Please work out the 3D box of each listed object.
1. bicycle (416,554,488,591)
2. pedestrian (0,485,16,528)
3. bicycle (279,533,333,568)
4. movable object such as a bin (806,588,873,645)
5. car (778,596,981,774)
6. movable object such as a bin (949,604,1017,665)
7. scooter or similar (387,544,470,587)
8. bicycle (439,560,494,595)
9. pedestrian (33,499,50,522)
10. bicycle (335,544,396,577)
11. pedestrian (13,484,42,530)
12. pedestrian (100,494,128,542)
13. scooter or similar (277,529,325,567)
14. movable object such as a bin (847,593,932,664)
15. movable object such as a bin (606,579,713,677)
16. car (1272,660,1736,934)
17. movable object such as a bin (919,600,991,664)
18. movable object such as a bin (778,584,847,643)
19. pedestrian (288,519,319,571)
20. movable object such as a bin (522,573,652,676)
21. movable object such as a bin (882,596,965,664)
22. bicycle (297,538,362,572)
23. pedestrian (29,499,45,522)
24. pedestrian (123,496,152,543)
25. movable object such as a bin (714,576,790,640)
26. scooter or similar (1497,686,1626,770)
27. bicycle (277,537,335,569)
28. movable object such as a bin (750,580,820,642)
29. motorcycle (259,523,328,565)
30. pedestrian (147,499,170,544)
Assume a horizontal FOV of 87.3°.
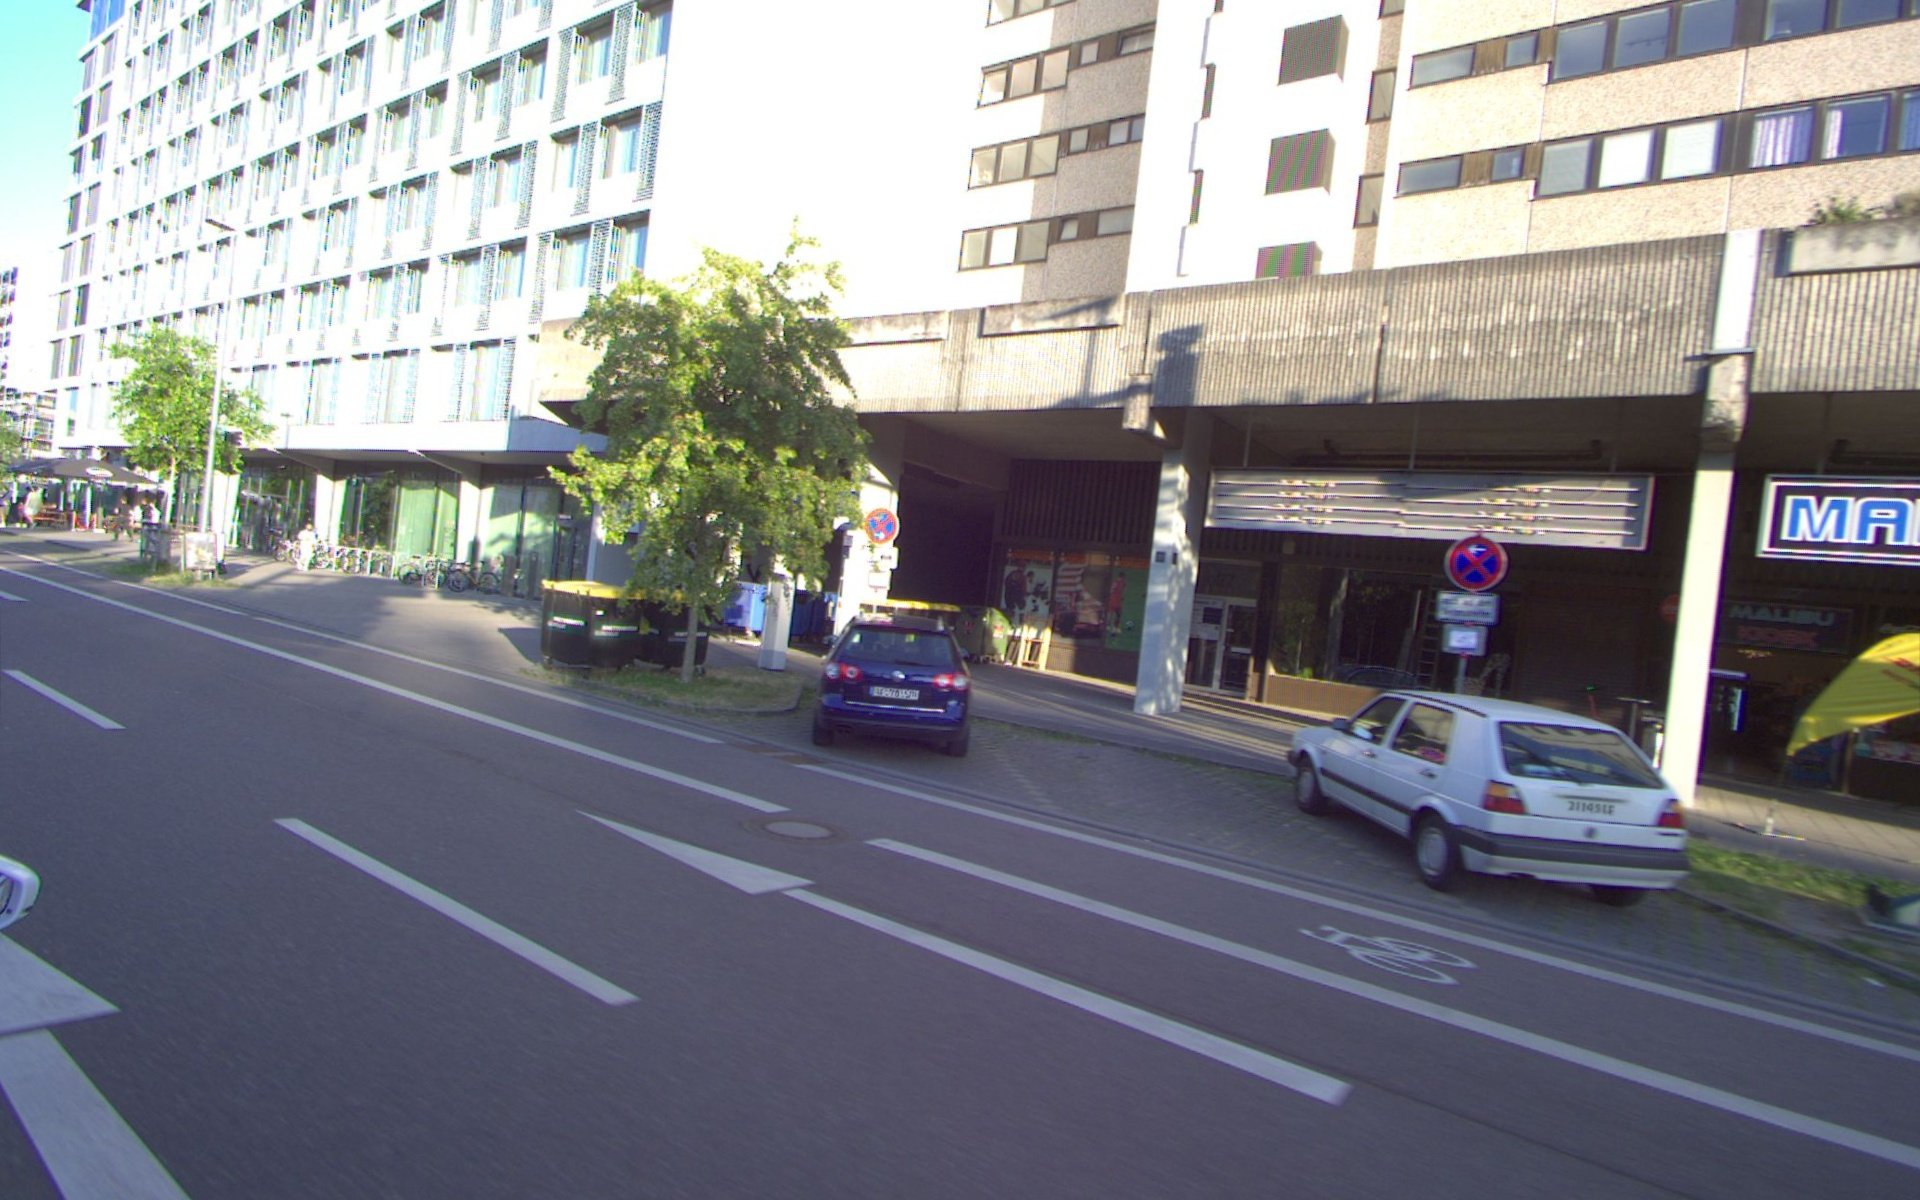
[{"bbox_3d":[-16.326,-0.871,32.388,0.610,0.970,2.018,7,1,29],"label":"bicycle"},{"bbox_3d":[-41.923,-4.110,44.153,0.818,1.809,0.574,6,2,44],"label":"pedestrian"},{"bbox_3d":[-24.823,-1.882,38.210,0.601,1.170,1.610,7,2,23],"label":"bicycle"},{"bbox_3d":[-3.204,0.445,26.747,1.263,1.346,1.074,7,1,35],"label":"movable object such as a bin"},{"bbox_3d":[-0.946,0.850,12.445,1.904,1.528,4.663,5,1,-4],"label":"car"},{"bbox_3d":[0.575,0.862,24.793,1.070,1.330,1.182,7,1,34],"label":"movable object such as a bin"},{"bbox_3d":[-17.590,-1.125,33.357,0.611,1.198,2.372,7,1,35],"label":"scooter or similar"},{"bbox_3d":[-15.279,-0.695,31.192,0.450,0.902,1.422,7,0,35],"label":"bicycle"},{"bbox_3d":[-57.406,-5.573,62.882,0.742,1.337,0.706,3,4,-42],"label":"pedestrian"},{"bbox_3d":[-20.567,-1.357,34.814,0.542,0.999,1.700,7,2,32],"label":"bicycle"},{"bbox_3d":[-41.164,-4.093,44.417,0.855,1.913,0.822,6,2,44],"label":"pedestrian"},{"bbox_3d":[-34.601,-3.340,41.155,0.741,1.874,0.928,3,3,-45],"label":"pedestrian"},{"bbox_3d":[-24.109,-1.891,36.828,0.598,1.249,1.268,7,2,31],"label":"scooter or similar"},{"bbox_3d":[-1.501,0.604,21.393,1.246,1.341,1.181,7,3,34],"label":"movable object such as a bin"},{"bbox_3d":[-4.723,0.432,15.818,1.141,1.365,1.014,7,3,31],"label":"movable object such as a bin"},{"bbox_3d":[4.381,1.487,8.943,1.719,1.435,3.987,6,1,-2],"label":"car"},{"bbox_3d":[-0.116,0.761,23.766,1.106,1.330,1.182,7,1,34],"label":"movable object such as a bin"},{"bbox_3d":[-3.796,0.351,25.836,1.263,1.346,1.033,7,1,35],"label":"movable object such as a bin"},{"bbox_3d":[-22.000,-1.840,33.697,0.632,1.640,0.576,7,3,33],"label":"pedestrian"},{"bbox_3d":[-5.418,0.348,14.649,1.338,1.319,1.085,7,2,29],"label":"movable object such as a bin"},{"bbox_3d":[-0.805,0.676,22.578,1.284,1.315,1.182,7,1,34],"label":"movable object such as a bin"},{"bbox_3d":[-22.741,-1.612,36.306,0.556,1.023,1.885,7,2,33],"label":"bicycle"},{"bbox_3d":[-58.288,-5.660,63.539,0.609,1.337,0.614,3,3,-36],"label":"pedestrian"},{"bbox_3d":[-34.065,-3.334,41.659,0.928,1.848,0.754,7,3,45],"label":"pedestrian"},{"bbox_3d":[-4.953,0.195,23.954,1.263,1.347,1.104,7,2,35],"label":"movable object such as a bin"},{"bbox_3d":[10.587,2.242,17.763,1.798,1.174,0.402,7,-1,26],"label":"scooter or similar"},{"bbox_3d":[-24.398,-1.743,37.537,0.542,0.999,1.700,7,2,32],"label":"bicycle"},{"bbox_3d":[-4.323,0.280,24.874,1.183,1.346,1.074,7,1,35],"label":"movable object such as a bin"},{"bbox_3d":[-25.556,-2.126,38.608,0.659,1.404,2.117,7,1,21],"label":"motorcycle"},{"bbox_3d":[-33.738,-3.314,42.355,0.616,1.836,0.767,2,4,-45],"label":"pedestrian"}]
